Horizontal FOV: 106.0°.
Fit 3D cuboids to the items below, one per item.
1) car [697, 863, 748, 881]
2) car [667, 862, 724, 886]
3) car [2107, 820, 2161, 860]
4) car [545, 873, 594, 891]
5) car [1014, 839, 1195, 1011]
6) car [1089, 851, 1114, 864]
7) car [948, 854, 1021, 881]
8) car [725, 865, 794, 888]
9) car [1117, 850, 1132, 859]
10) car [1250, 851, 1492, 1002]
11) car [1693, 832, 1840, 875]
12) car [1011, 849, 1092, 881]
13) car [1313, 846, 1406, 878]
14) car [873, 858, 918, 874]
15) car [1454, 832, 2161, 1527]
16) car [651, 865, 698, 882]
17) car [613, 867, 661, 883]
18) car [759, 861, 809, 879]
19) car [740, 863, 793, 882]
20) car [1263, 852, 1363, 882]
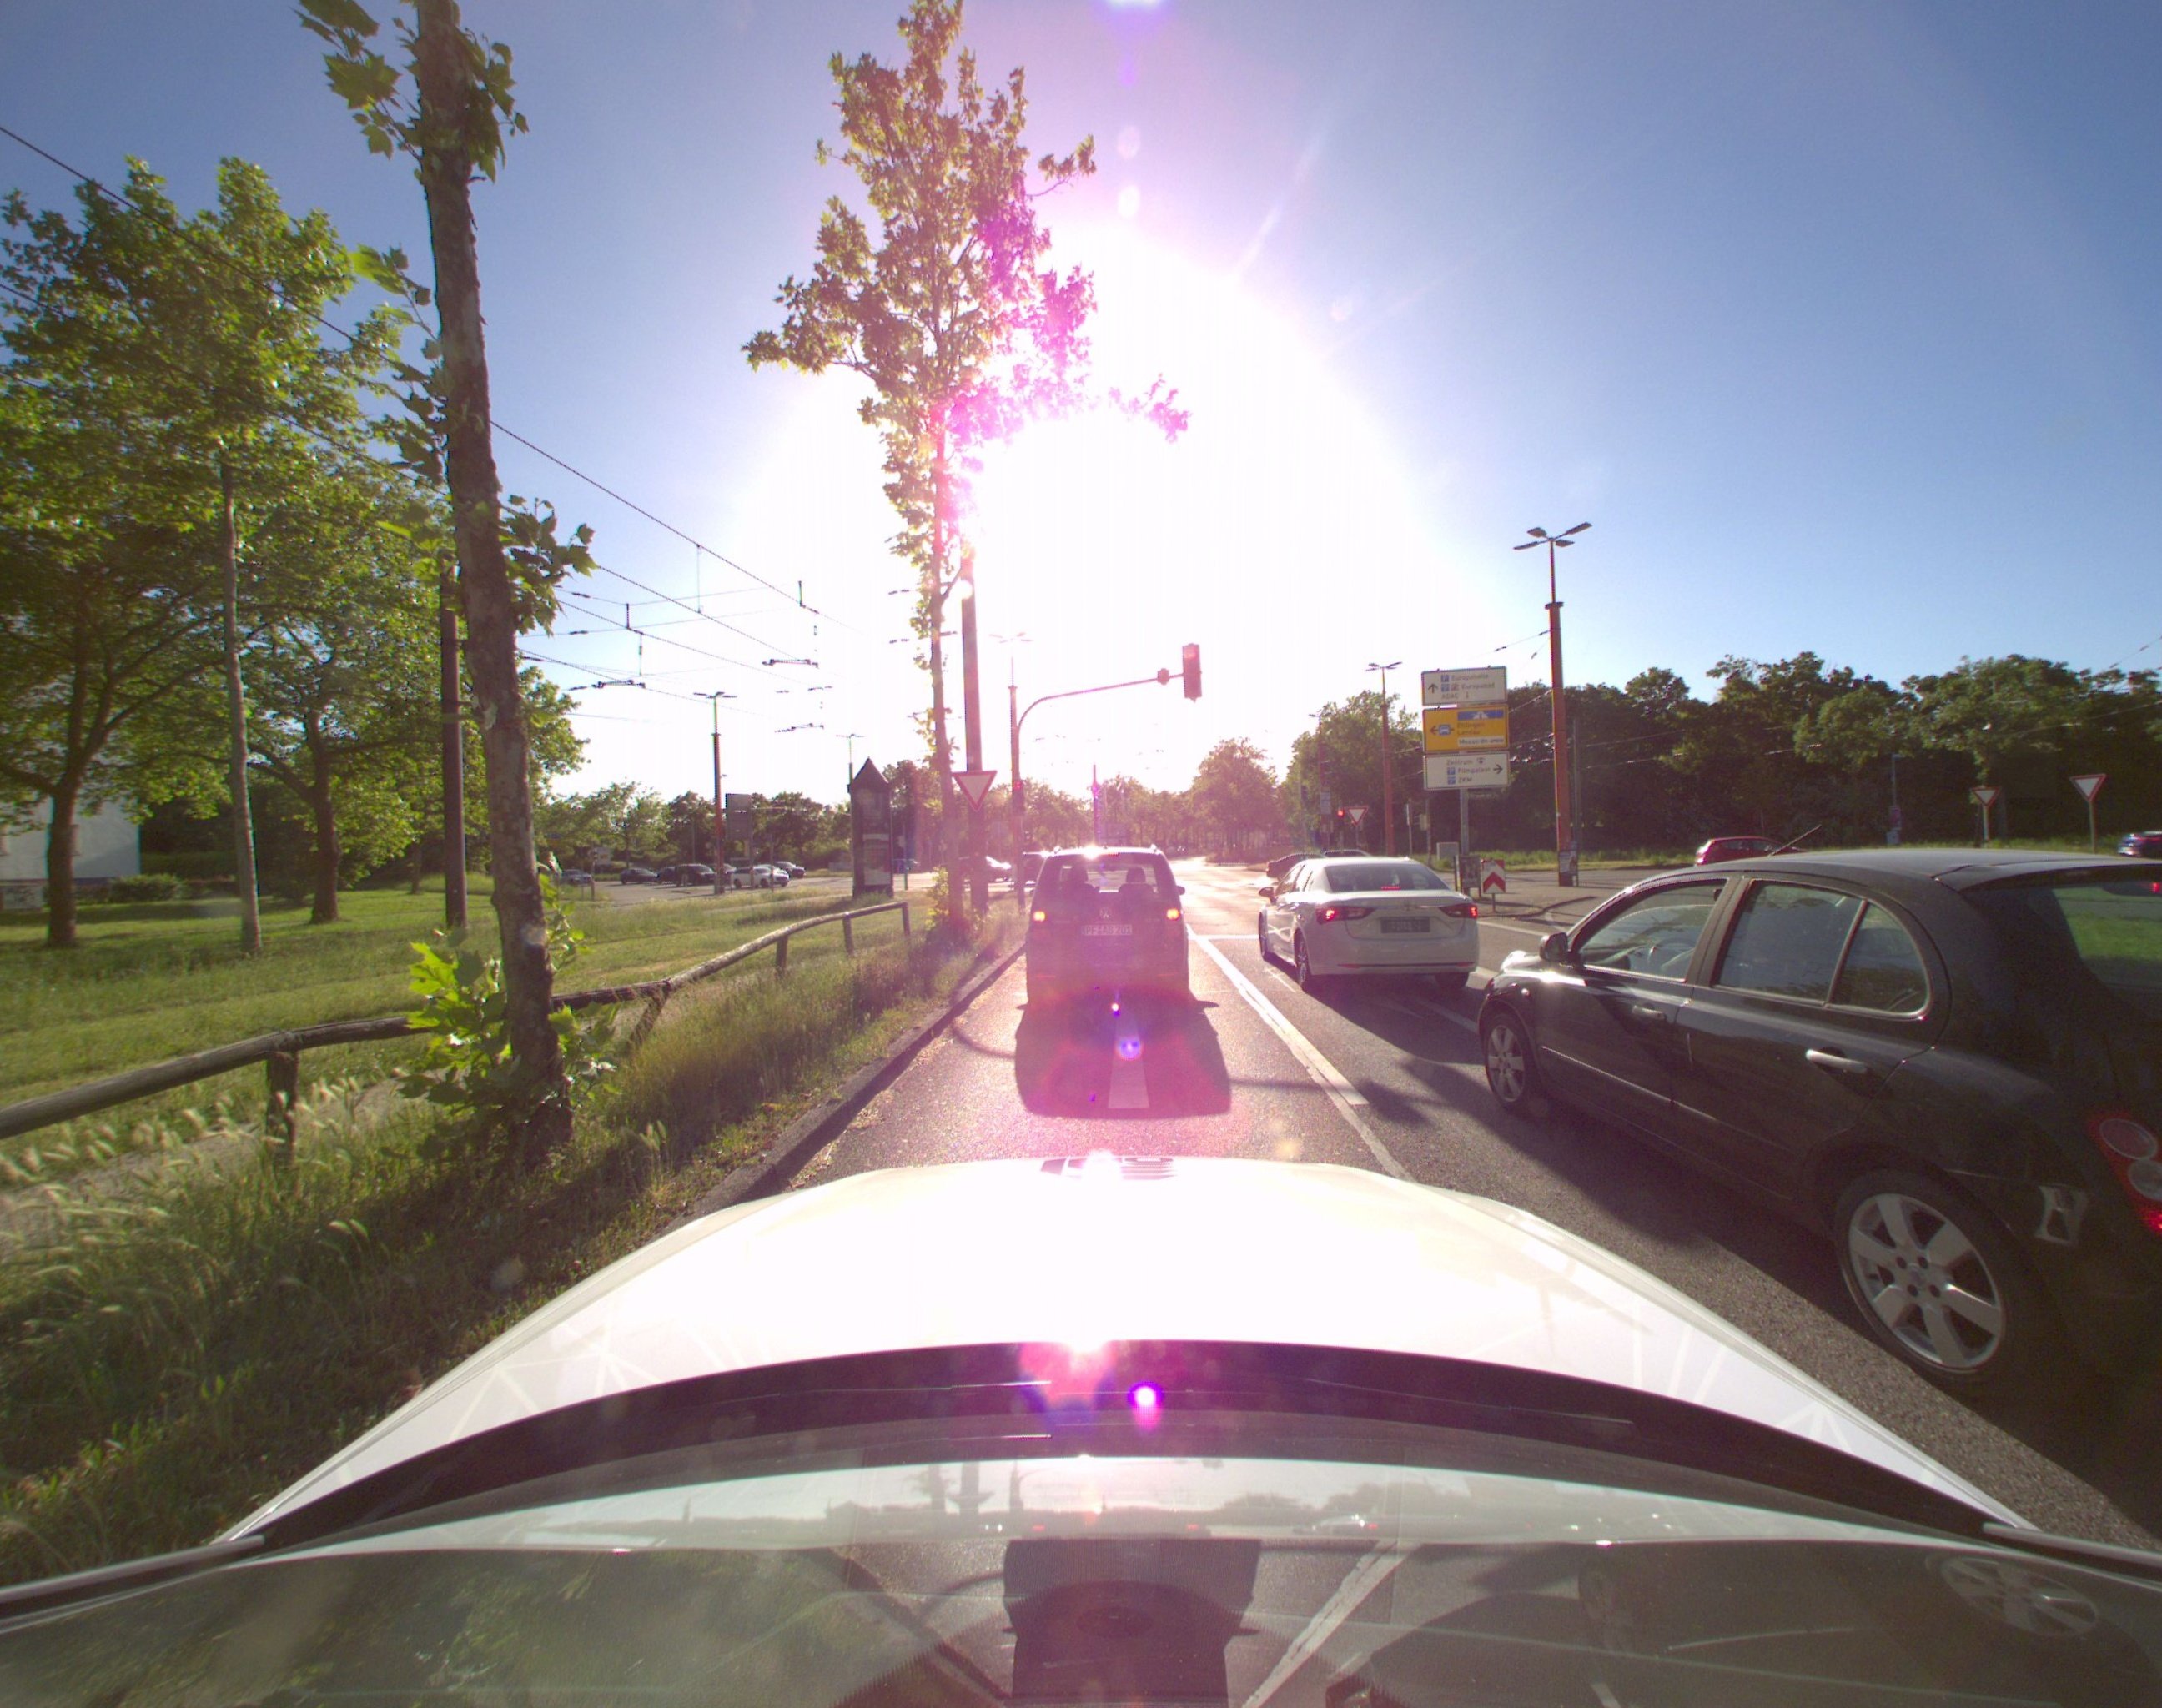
[{"bbox_3d":[-31.718,1.570,72.082,4.318,1.464,1.926,-2,0,29],"label":"car"},{"bbox_3d":[-32.451,1.675,68.507,4.735,1.836,1.926,-2,0,29],"label":"car"},{"bbox_3d":[38.673,-0.541,27.540,4.608,1.362,1.782,-2,0,31],"label":"car"},{"bbox_3d":[-49.275,2.671,78.401,4.735,1.598,1.926,-2,0,29],"label":"car"},{"bbox_3d":[0.296,0.697,9.999,1.731,1.641,4.002,-2,0,2],"label":"car"},{"bbox_3d":[2.869,0.436,111.775,1.977,1.684,4.853,-2,0,20],"label":"car"},{"bbox_3d":[-6.382,0.909,53.569,4.507,1.668,1.854,-2,0,30],"label":"car"},{"bbox_3d":[-23.253,1.630,58.837,4.867,1.575,2.012,-2,0,29],"label":"car"},{"bbox_3d":[8.216,0.118,153.140,1.980,1.684,4.846,-2,0,13],"label":"car"},{"bbox_3d":[3.297,0.720,10.126,1.708,1.454,4.147,-2,0,3],"label":"car"},{"bbox_3d":[25.896,-0.018,30.946,3.949,1.494,1.782,-2,0,29],"label":"car"},{"bbox_3d":[-1.741,0.662,47.006,4.302,1.732,1.854,-2,0,30],"label":"car"},{"bbox_3d":[14.280,0.418,41.815,4.179,1.479,1.765,-2,0,32],"label":"car"},{"bbox_3d":[-19.560,1.258,85.815,4.411,1.596,2.012,-2,0,28],"label":"car"},{"bbox_3d":[3.167,0.694,3.522,1.550,1.506,3.517,-2,0,2],"label":"car"},{"bbox_3d":[-37.353,1.776,74.851,4.004,1.464,1.926,-2,0,28],"label":"car"},{"bbox_3d":[-42.356,1.987,77.657,4.187,1.464,1.926,-2,0,28],"label":"car"},{"bbox_3d":[-26.532,1.450,72.666,4.169,1.464,1.926,-2,0,29],"label":"car"},{"bbox_3d":[-26.771,1.593,69.262,4.169,1.464,1.926,-2,0,29],"label":"car"},{"bbox_3d":[11.189,0.637,39.320,4.263,1.327,1.772,-2,0,31],"label":"car"}]
